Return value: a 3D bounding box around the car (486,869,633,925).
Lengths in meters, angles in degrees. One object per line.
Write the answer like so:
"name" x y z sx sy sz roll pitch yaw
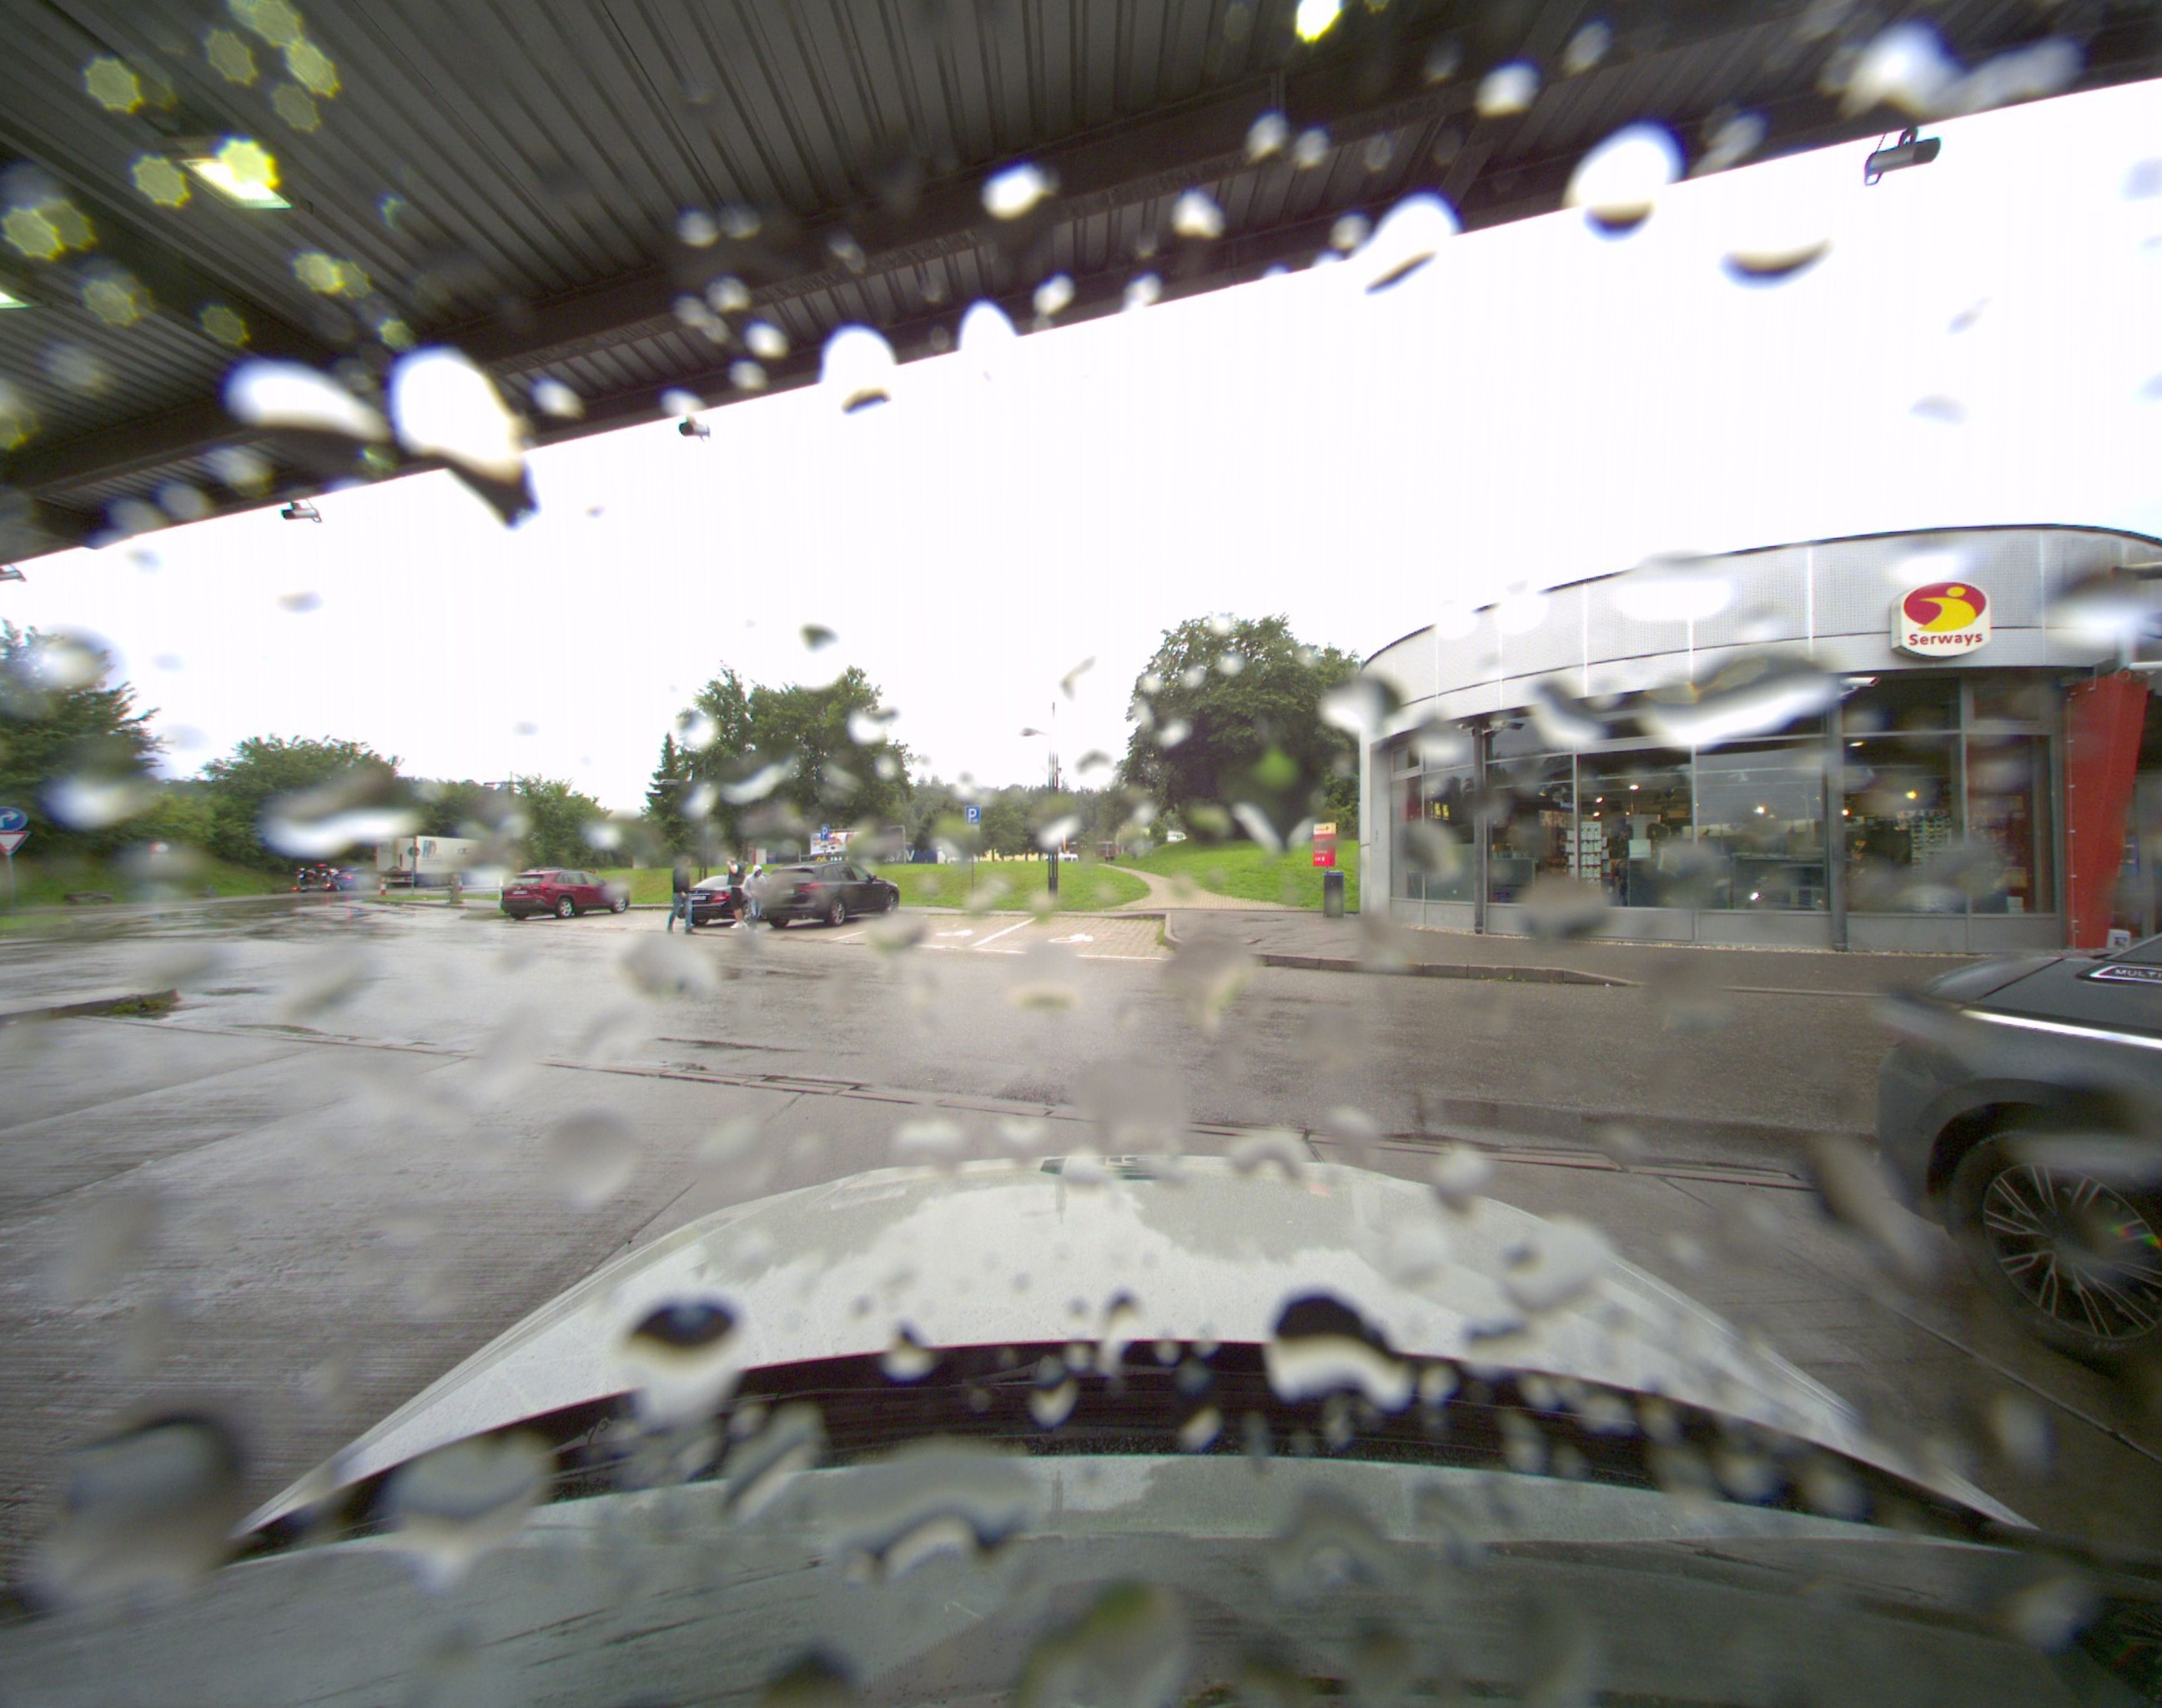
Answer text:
"car" -18.126 1.439 28.616 1.928 1.644 4.352 -2 0 7

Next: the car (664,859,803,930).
"car" -9.824 1.079 23.447 2.010 1.711 4.344 -2 0 1

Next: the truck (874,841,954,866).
"truck" -20.735 -0.062 102.370 2.165 2.920 13.175 -1 -1 26

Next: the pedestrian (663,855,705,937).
"pedestrian" -9.425 0.963 19.327 0.707 1.887 0.883 0 -1 -38

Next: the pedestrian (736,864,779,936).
"pedestrian" -7.640 1.052 19.197 0.707 1.631 0.943 0 -1 -38

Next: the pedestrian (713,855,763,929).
"pedestrian" -8.921 0.964 21.208 0.695 1.887 0.959 -1 -1 26

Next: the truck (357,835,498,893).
"truck" -55.430 0.835 70.004 3.550 4.340 16.899 0 -1 -18

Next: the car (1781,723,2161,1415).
"car" 3.683 0.542 0.699 1.854 1.798 5.142 0 -1 2

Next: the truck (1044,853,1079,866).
"truck" -3.228 0.868 134.128 5.356 2.014 2.381 -1 -1 26

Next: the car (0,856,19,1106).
"car" -7.959 0.801 2.699 1.854 1.608 5.273 0 0 2

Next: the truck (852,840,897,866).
"truck" -24.168 -0.093 95.479 2.165 2.920 5.419 -1 -1 27

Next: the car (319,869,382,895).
"car" -50.330 1.875 56.199 1.814 1.681 3.927 0 -1 -18

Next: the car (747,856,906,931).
"car" -6.638 0.969 21.803 2.002 1.711 4.360 -2 0 14

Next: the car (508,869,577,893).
"car" -39.985 1.981 60.599 1.981 1.678 4.012 -1 -1 11

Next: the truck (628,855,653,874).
"truck" -72.272 1.689 133.693 2.486 3.085 7.306 0 -1 -20
